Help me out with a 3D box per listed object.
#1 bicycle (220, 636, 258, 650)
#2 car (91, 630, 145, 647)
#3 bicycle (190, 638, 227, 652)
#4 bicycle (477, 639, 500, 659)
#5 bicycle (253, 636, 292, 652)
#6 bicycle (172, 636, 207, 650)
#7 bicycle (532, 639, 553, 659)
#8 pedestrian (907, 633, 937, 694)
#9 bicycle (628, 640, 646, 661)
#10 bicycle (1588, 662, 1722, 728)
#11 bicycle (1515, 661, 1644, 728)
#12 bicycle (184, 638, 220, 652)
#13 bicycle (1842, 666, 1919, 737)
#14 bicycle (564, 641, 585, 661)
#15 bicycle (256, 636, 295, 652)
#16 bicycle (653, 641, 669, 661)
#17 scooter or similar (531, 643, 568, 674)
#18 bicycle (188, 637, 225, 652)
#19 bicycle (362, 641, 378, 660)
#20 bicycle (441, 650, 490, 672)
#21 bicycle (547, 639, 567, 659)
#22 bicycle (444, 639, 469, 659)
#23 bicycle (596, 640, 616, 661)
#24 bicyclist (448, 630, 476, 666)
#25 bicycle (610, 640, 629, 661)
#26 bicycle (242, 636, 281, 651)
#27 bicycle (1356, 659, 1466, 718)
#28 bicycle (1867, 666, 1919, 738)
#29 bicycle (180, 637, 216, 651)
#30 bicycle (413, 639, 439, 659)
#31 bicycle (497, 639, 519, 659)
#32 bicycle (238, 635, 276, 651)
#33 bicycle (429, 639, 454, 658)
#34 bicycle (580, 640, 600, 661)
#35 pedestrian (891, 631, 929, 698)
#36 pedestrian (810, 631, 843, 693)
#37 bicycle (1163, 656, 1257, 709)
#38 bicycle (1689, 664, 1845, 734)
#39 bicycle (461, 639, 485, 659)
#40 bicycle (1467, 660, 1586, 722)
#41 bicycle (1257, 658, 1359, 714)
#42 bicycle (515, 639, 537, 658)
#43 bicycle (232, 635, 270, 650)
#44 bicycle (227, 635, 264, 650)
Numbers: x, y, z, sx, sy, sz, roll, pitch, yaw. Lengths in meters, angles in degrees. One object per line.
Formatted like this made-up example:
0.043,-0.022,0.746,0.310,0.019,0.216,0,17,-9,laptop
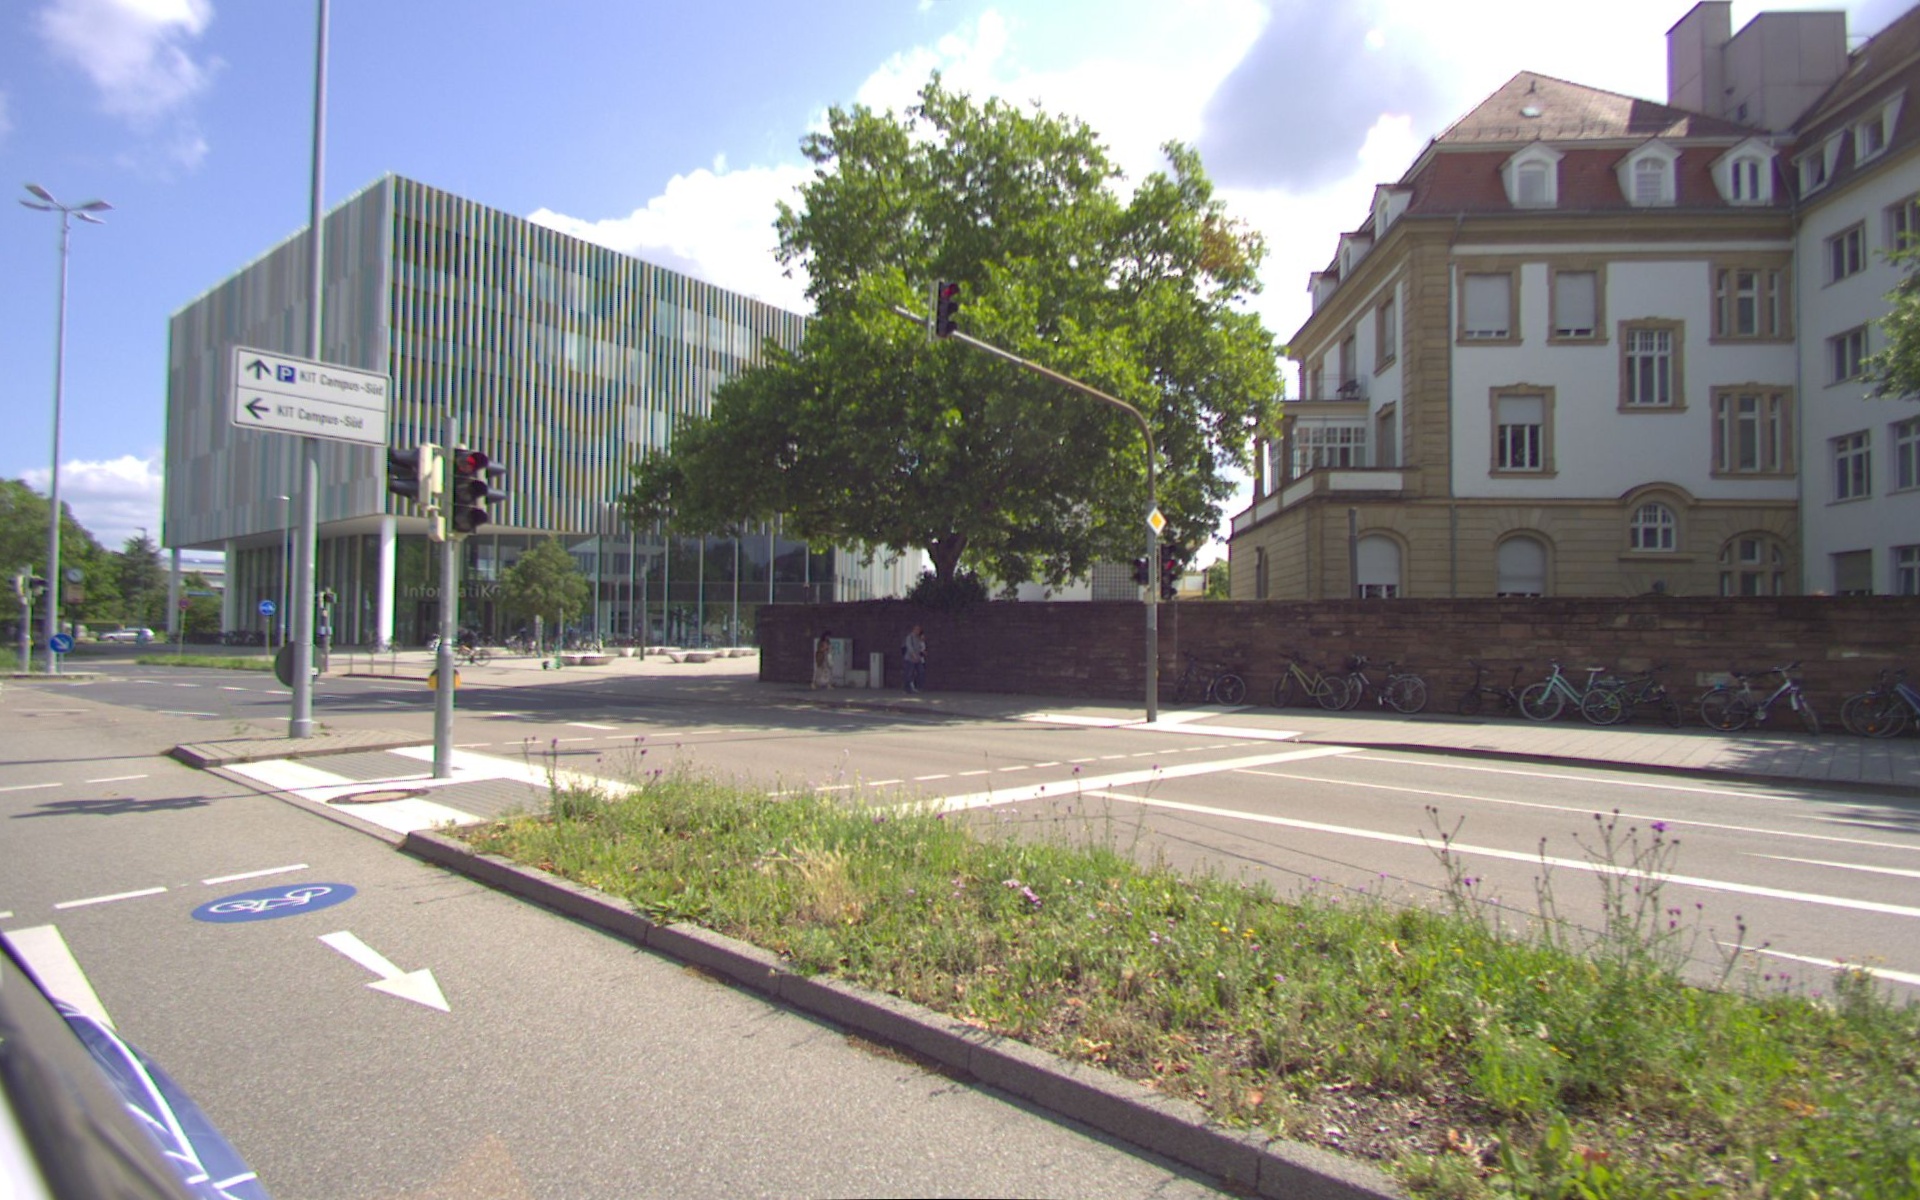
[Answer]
-54.546,3.249,76.613,0.721,1.105,2.192,-1,-3,34,bicycle
-84.987,3.876,102.185,1.645,1.699,3.945,-2,-3,41,car
-59.137,3.517,79.663,0.721,1.105,2.192,-1,-3,34,bicycle
-27.542,2.864,59.165,0.711,1.105,2.223,1,-2,-11,bicycle
-49.299,3.148,72.584,0.753,1.105,2.192,-1,-3,34,bicycle
-64.561,3.613,84.811,0.721,1.105,2.192,-1,-3,34,bicycle
-24.264,2.839,58.799,0.711,1.105,2.223,1,-2,-11,bicycle
-0.991,1.644,26.269,0.615,1.551,0.471,-1,-3,37,pedestrian
-18.803,2.920,58.918,0.735,1.199,2.324,1,-2,-11,bicycle
11.979,1.615,17.506,1.875,1.056,0.367,-1,-3,33,bicycle
10.772,1.624,17.645,1.875,1.056,0.587,-1,-3,33,bicycle
-60.743,3.574,81.074,0.721,1.105,2.192,-1,-3,34,bicycle
14.891,1.567,15.612,1.875,1.056,0.390,-1,-3,33,bicycle
-22.430,2.945,58.901,0.735,1.146,2.324,1,-2,-11,bicycle
-48.708,3.150,72.032,0.721,1.105,2.192,-1,-3,34,bicycle
-17.301,2.933,58.555,0.711,1.105,2.223,1,-2,-11,bicycle
-15.597,2.204,38.484,0.499,1.166,1.495,0,-2,14,scooter or similar
-59.885,3.533,80.441,0.721,1.105,2.192,-1,-3,34,bicycle
-34.323,2.934,58.844,0.539,1.105,1.637,2,-3,-39,bicycle
-20.479,2.505,41.940,1.745,0.899,0.640,1,-2,-16,bicycle
-23.489,2.856,58.996,0.711,1.105,2.223,1,-2,-11,bicycle
-29.369,2.843,59.082,0.711,1.105,2.223,1,-2,-11,bicycle
-20.583,2.932,58.877,0.735,1.199,2.324,1,-2,-11,bicycle
-20.633,1.988,41.920,0.931,1.475,0.633,1,-2,-16,bicyclist
-19.759,2.923,58.708,0.735,1.199,2.324,1,-2,-11,bicycle
-50.262,3.115,72.808,0.721,1.105,2.192,-1,-3,34,bicycle
8.739,1.702,19.639,1.875,1.056,0.559,-1,-3,33,bicycle
14.871,1.546,15.139,1.875,1.056,0.369,-1,-3,33,bicycle
-61.468,3.555,81.619,0.721,1.098,2.192,-1,-3,34,bicycle
-30.960,2.835,58.719,0.711,1.105,2.223,1,-2,-11,bicycle
-26.202,2.834,58.687,0.711,1.105,2.223,1,-2,-11,bicycle
-51.485,3.154,74.153,0.733,1.105,2.192,-1,-3,34,bicycle
-30.136,2.824,58.868,0.711,1.105,2.223,1,-2,-11,bicycle
-21.479,2.936,58.752,0.735,1.199,2.324,1,-2,-11,bicycle
-1.273,1.619,25.661,0.730,1.664,0.635,-1,-3,37,pedestrian
-3.651,1.674,27.669,0.726,1.664,0.555,-1,-3,37,pedestrian
5.373,1.765,21.839,1.875,1.056,0.625,-1,-3,33,bicycle
13.100,1.587,16.485,1.865,1.056,0.590,0,-2,18,bicycle
-28.371,2.847,59.020,0.711,1.105,2.223,1,-2,-11,bicycle
10.381,1.646,18.575,1.875,1.056,0.367,-1,-3,33,bicycle
7.108,1.732,20.689,1.875,1.056,0.625,-1,-3,33,bicycle
-25.163,2.817,58.694,0.711,1.105,2.223,1,-2,-11,bicycle
-52.281,3.150,74.668,0.721,1.105,2.192,-1,-3,34,bicycle
-53.763,3.199,76.162,0.721,1.105,2.192,-1,-3,34,bicycle
